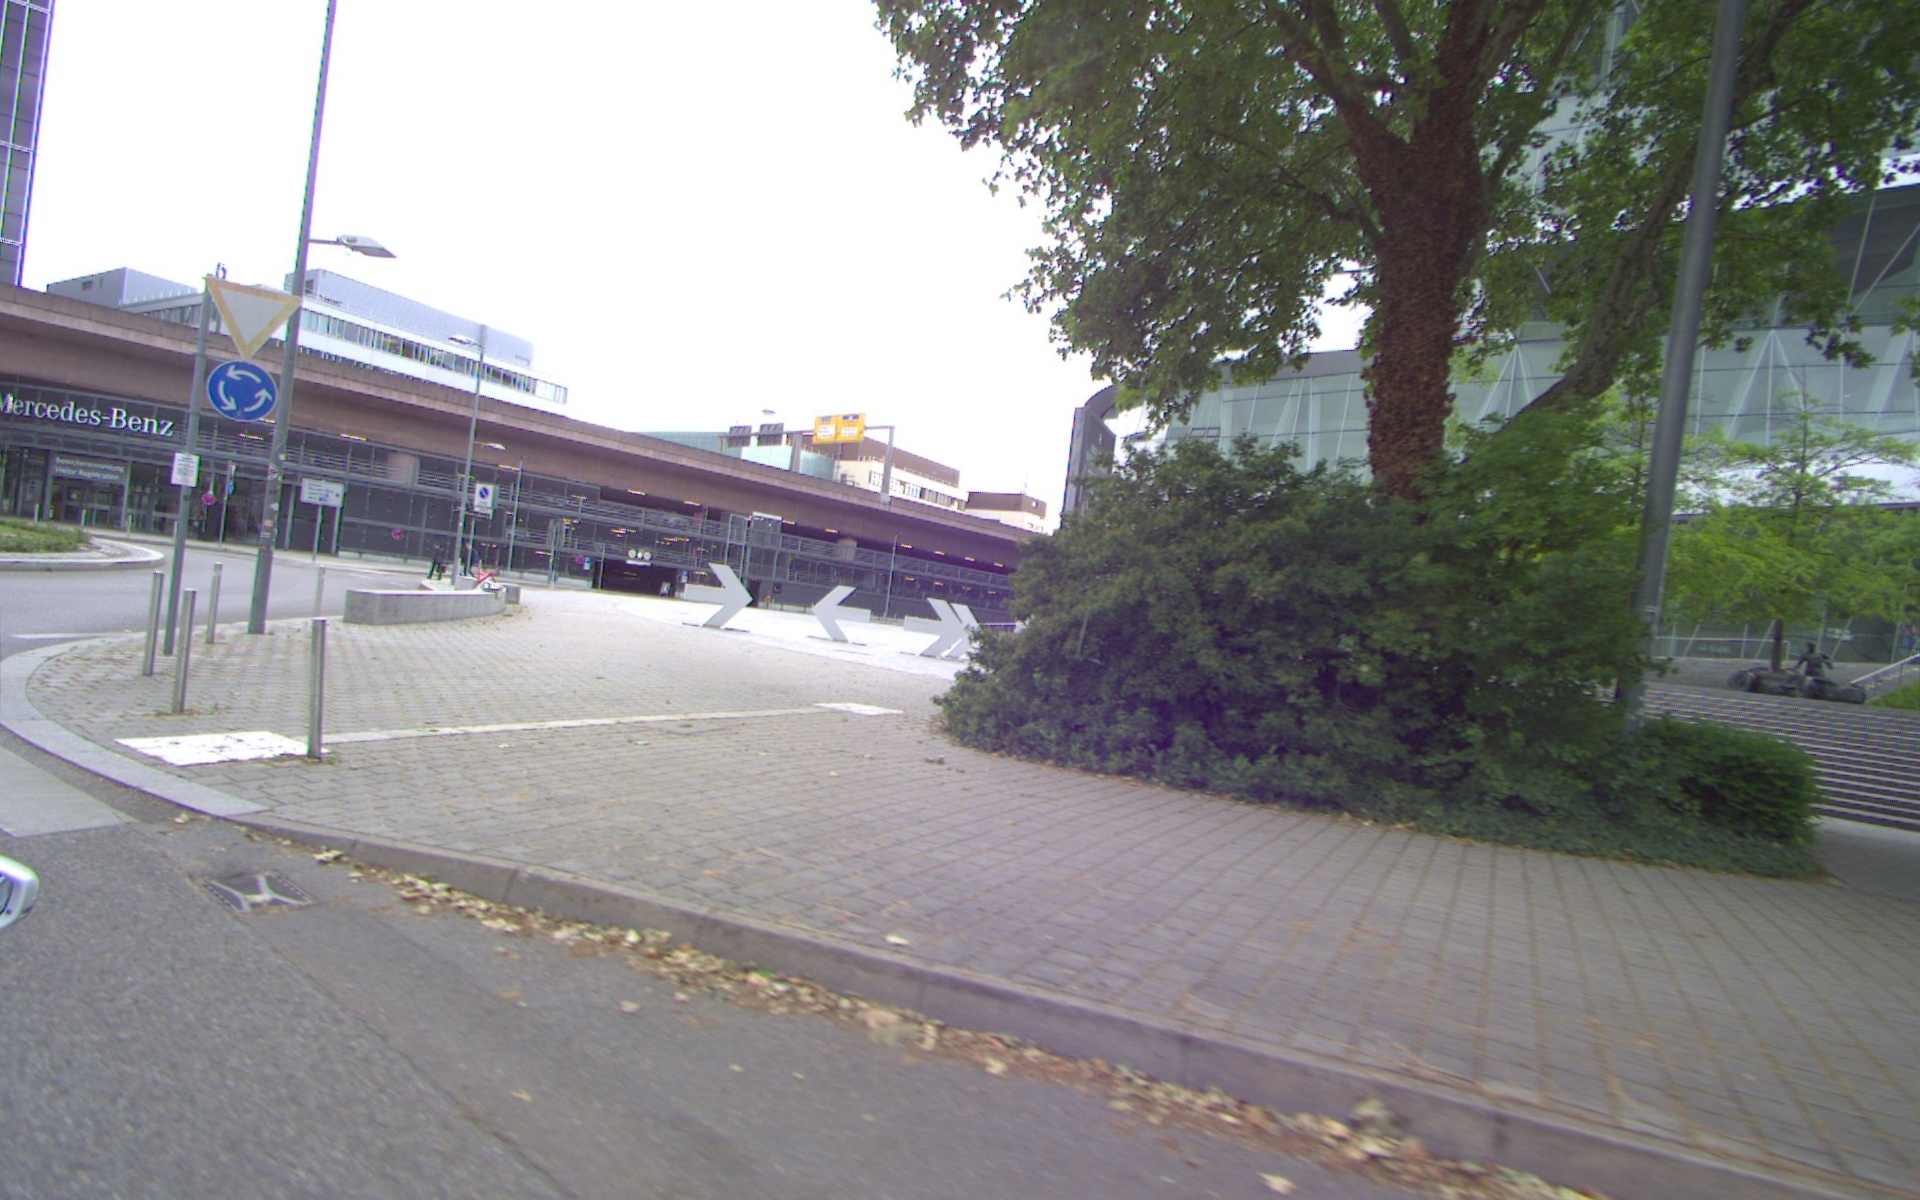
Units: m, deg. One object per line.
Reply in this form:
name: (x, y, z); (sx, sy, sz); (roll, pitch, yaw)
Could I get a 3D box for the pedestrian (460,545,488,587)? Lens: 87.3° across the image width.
pedestrian: (-22.028, -1.544, 45.582); (0.827, 1.761, 0.683); (7, -1, -38)

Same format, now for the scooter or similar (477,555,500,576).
scooter or similar: (-31.805, -2.340, 67.912); (0.351, 1.208, 1.228); (6, -1, 43)

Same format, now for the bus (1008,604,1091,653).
bus: (9.370, 3.010, 103.693); (2.716, 3.980, 11.053); (6, -2, 37)

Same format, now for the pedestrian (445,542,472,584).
pedestrian: (-22.313, -1.647, 44.732); (0.826, 1.761, 0.684); (7, -1, -34)

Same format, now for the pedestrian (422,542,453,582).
pedestrian: (-22.694, -1.647, 43.687); (0.680, 1.589, 0.830); (6, -1, 40)

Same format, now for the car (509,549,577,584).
car: (-30.413, -2.442, 73.395); (1.974, 1.926, 3.978); (7, -1, 44)
